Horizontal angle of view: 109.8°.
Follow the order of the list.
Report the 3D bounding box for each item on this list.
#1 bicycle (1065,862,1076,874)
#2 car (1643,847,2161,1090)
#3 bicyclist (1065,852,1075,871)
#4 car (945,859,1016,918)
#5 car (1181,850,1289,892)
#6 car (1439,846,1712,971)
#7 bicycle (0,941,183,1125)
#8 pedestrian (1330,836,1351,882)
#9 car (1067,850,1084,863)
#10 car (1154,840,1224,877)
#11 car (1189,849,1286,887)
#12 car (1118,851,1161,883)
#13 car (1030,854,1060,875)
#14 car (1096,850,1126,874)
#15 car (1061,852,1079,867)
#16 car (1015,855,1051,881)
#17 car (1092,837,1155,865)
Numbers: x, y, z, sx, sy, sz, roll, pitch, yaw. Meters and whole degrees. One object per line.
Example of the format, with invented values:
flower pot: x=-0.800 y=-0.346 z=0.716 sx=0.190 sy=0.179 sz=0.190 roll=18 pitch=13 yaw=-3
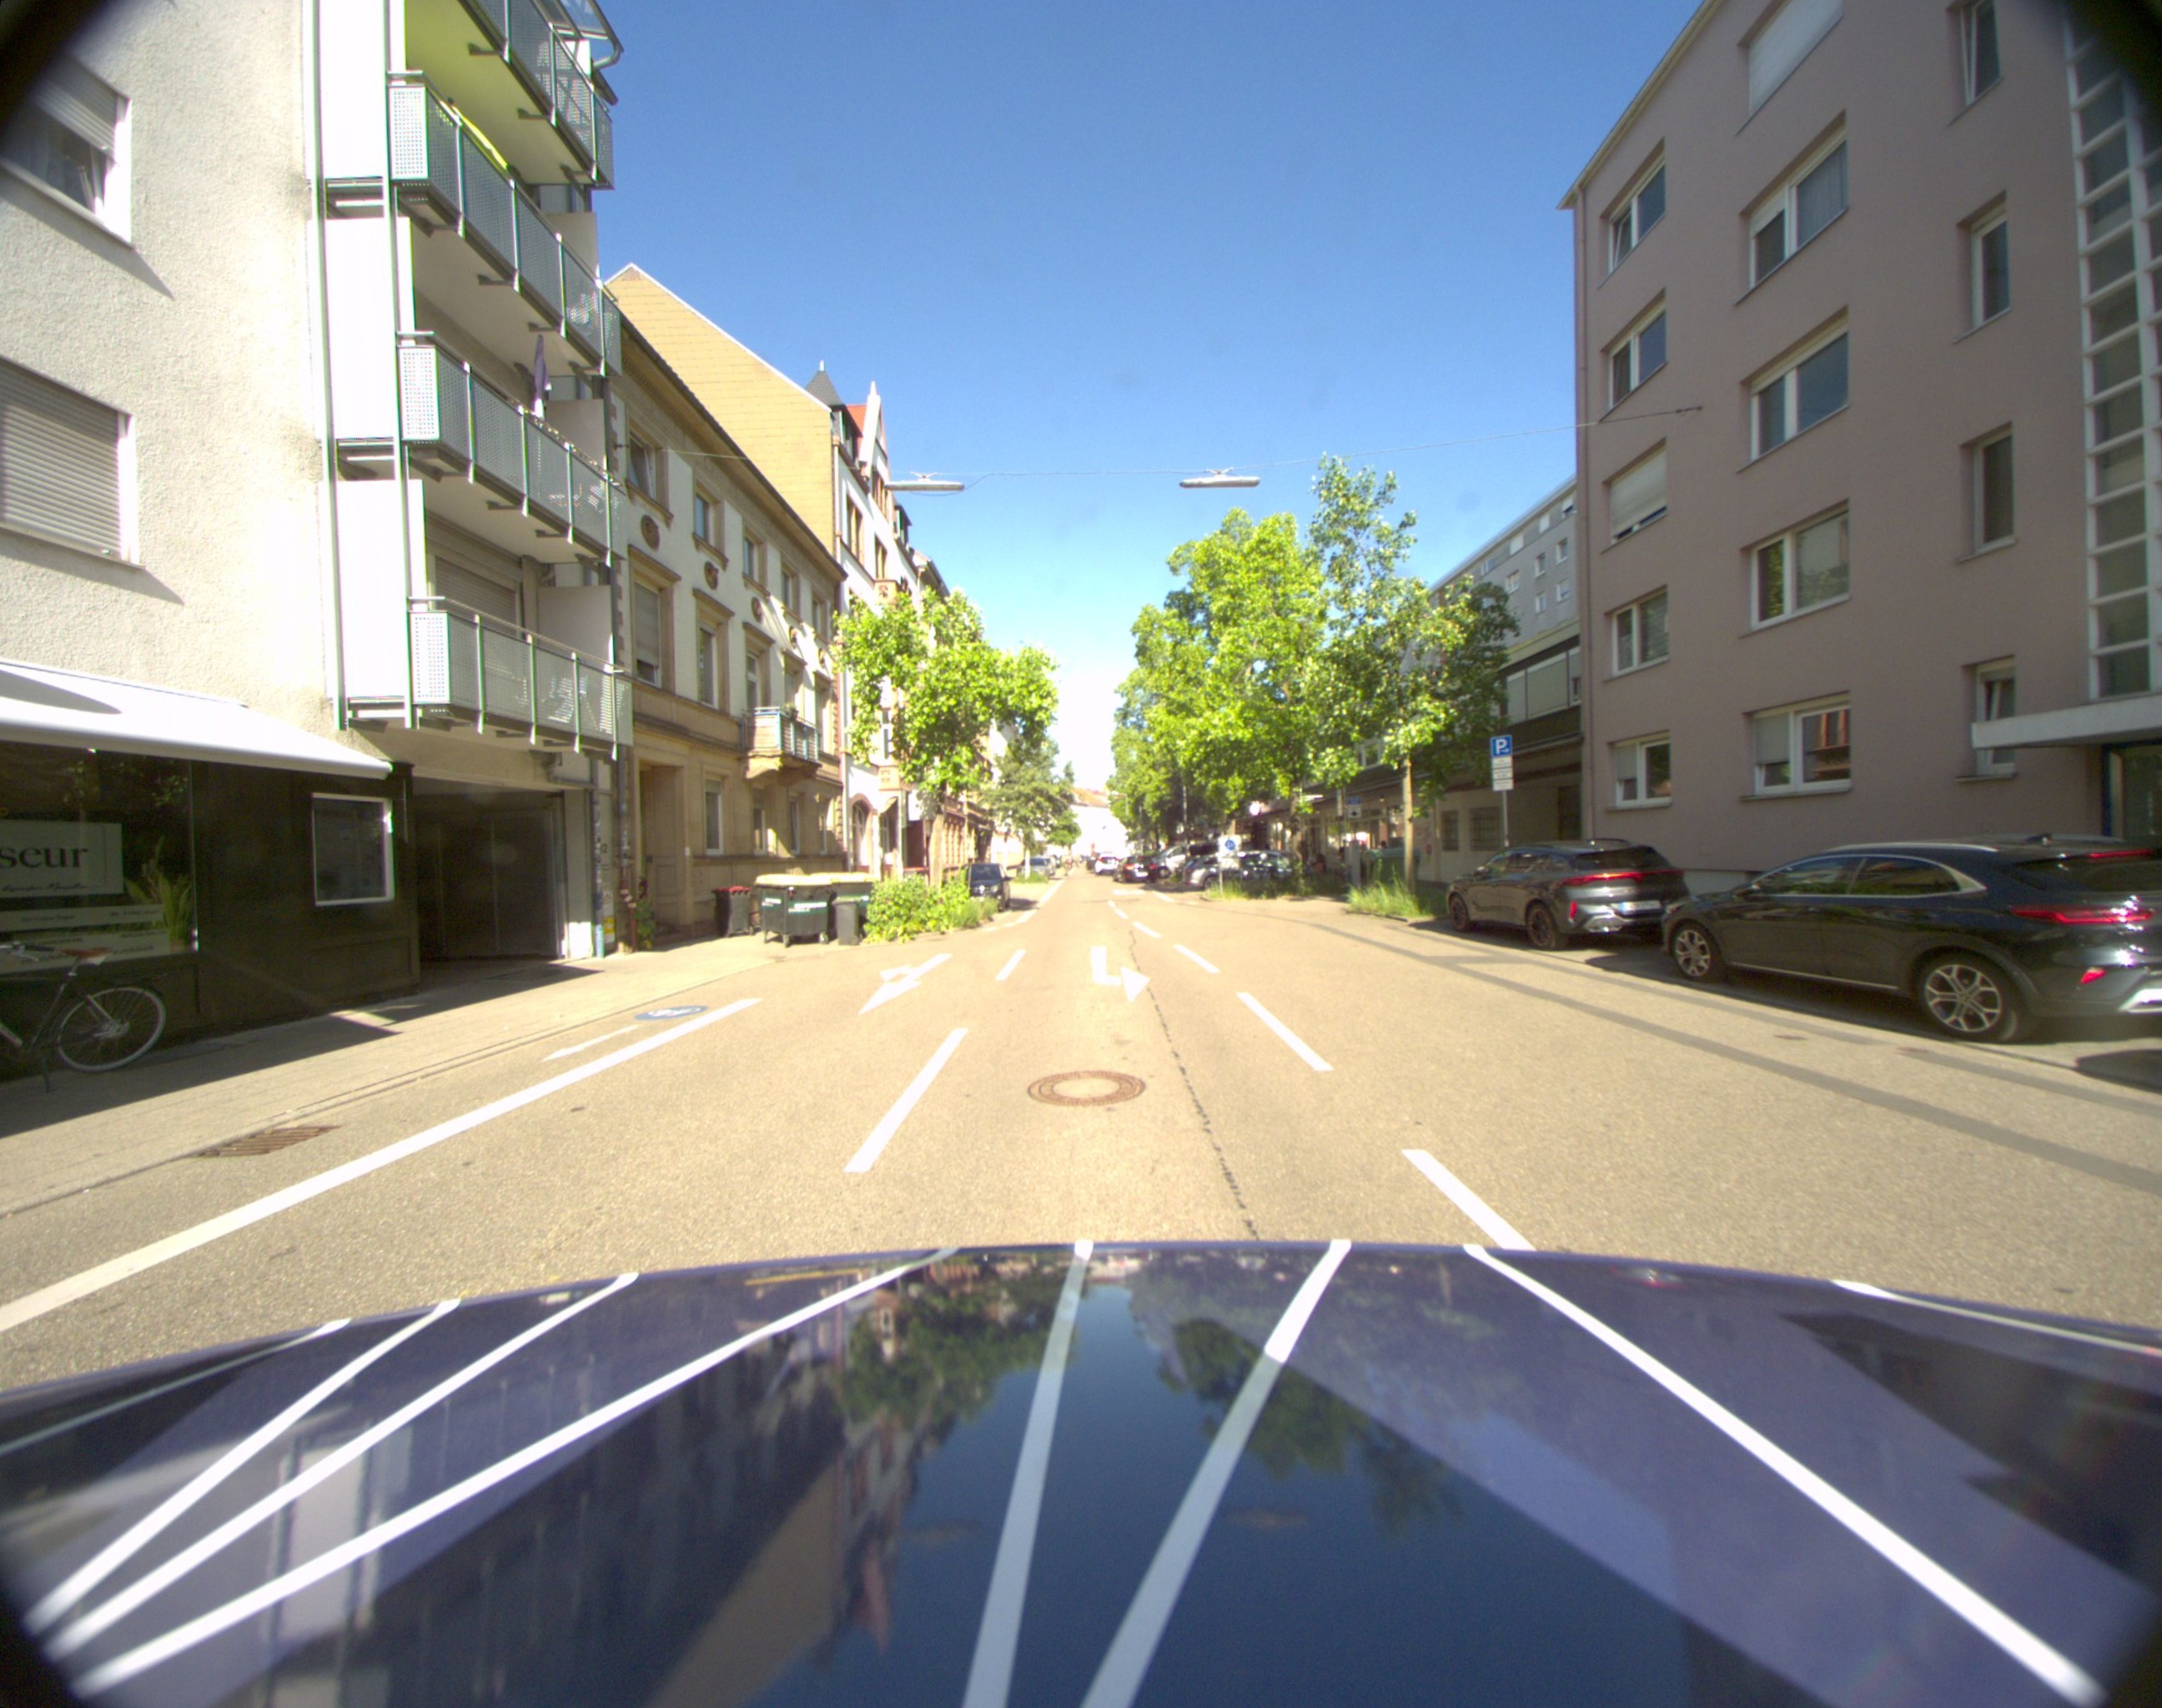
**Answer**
bicycle: x=-0.759 y=0.978 z=54.165 sx=0.582 sy=0.801 sz=1.710 roll=-2 pitch=0 yaw=6
car: x=7.488 y=0.721 z=6.917 sx=1.727 sy=1.459 sz=4.158 roll=-4 pitch=0 yaw=2
bicyclist: x=-0.770 y=0.519 z=54.143 sx=0.582 sy=1.369 sz=0.665 roll=-2 pitch=1 yaw=6
car: x=-3.002 y=0.987 z=23.315 sx=1.627 sy=1.586 sz=3.547 roll=-2 pitch=0 yaw=1
car: x=6.141 y=0.653 z=30.638 sx=3.996 sy=1.543 sz=1.913 roll=-2 pitch=0 yaw=3
car: x=7.567 y=0.720 z=12.213 sx=1.727 sy=1.567 sz=4.158 roll=-4 pitch=0 yaw=2
bicycle: x=-7.757 y=1.297 z=5.410 sx=0.598 sy=1.137 sz=1.774 roll=1 pitch=0 yaw=1
pedestrian: x=10.487 y=0.201 z=30.696 sx=0.623 sy=1.796 sz=0.502 roll=-2 pitch=1 yaw=2
car: x=-0.622 y=0.266 z=89.190 sx=1.713 sy=1.444 sz=3.547 roll=-2 pitch=0 yaw=3
car: x=6.330 y=0.252 z=44.884 sx=3.875 sy=2.031 sz=1.913 roll=-2 pitch=1 yaw=3
car: x=6.935 y=0.626 z=33.980 sx=3.996 sy=1.543 sz=1.913 roll=-2 pitch=0 yaw=3
car: x=3.029 y=0.640 z=39.853 sx=1.911 sy=1.543 sz=4.000 roll=-2 pitch=0 yaw=0
car: x=-2.586 y=0.726 z=55.419 sx=1.914 sy=1.444 sz=3.547 roll=-2 pitch=0 yaw=1
car: x=2.028 y=0.501 z=52.575 sx=1.911 sy=1.543 sz=4.000 roll=-2 pitch=0 yaw=0
car: x=-1.170 y=0.568 z=81.360 sx=1.713 sy=1.444 sz=3.547 roll=-2 pitch=0 yaw=2
car: x=-2.854 y=0.790 z=45.737 sx=1.914 sy=1.444 sz=3.546 roll=-2 pitch=0 yaw=-1
car: x=3.966 y=-0.292 z=71.364 sx=5.563 sy=2.379 sz=1.976 roll=-2 pitch=1 yaw=-12
